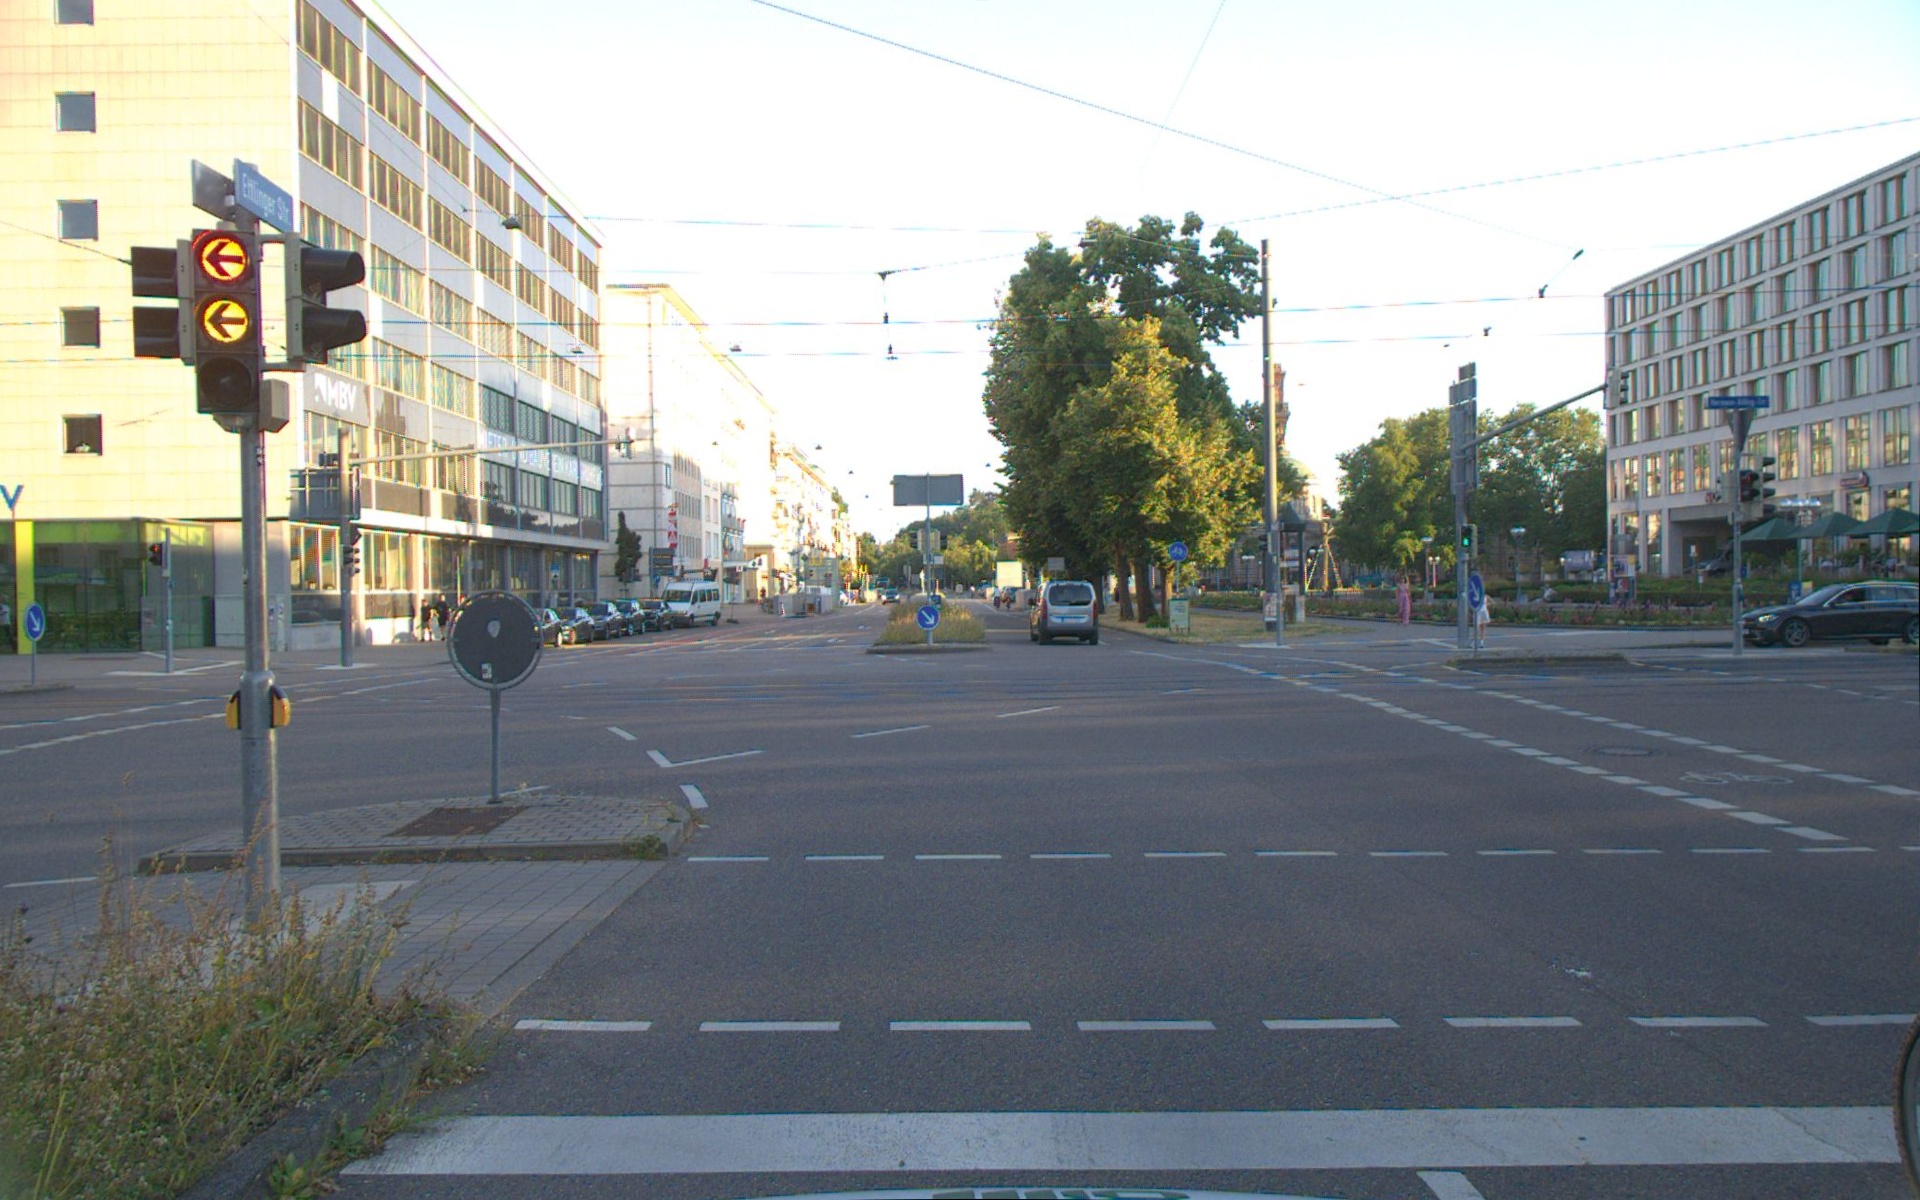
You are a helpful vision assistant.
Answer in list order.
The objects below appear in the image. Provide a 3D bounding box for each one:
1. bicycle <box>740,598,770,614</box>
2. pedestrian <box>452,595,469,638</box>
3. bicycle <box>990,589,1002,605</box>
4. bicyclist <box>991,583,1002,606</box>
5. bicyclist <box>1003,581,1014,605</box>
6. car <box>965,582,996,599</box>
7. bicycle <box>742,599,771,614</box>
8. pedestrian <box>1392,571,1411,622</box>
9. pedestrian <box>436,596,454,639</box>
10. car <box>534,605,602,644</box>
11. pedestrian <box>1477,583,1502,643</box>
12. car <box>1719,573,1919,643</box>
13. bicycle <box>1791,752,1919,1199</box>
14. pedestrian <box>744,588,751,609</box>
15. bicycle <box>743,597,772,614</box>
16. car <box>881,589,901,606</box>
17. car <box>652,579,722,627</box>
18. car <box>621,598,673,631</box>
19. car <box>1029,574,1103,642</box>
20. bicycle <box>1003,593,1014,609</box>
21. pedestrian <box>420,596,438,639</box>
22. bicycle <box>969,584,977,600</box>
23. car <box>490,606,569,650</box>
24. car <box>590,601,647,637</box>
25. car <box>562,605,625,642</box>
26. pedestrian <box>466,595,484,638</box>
[{"bbox_3d":[-15.492,0.461,125.100,2.161,1.131,0.618,-1,0,-3],"label":"bicycle"},{"bbox_3d":[-19.985,0.646,66.201,0.490,1.708,0.500,-1,0,-1],"label":"pedestrian"},{"bbox_3d":[2.676,-0.199,122.791,0.731,1.164,2.505,-1,0,-1],"label":"bicycle"},{"bbox_3d":[2.675,-0.390,122.301,0.731,1.692,0.873,-1,0,-1],"label":"bicyclist"},{"bbox_3d":[3.587,-0.501,122.660,0.731,1.720,0.799,-1,0,-1],"label":"bicyclist"},{"bbox_3d":[2.642,-1.246,214.312,3.909,2.049,1.998,-1,0,-5],"label":"car"},{"bbox_3d":[-15.570,0.487,126.583,2.161,1.131,0.689,-1,0,-2],"label":"bicycle"},{"bbox_3d":[14.585,-0.112,54.655,0.451,1.685,0.566,-1,0,-1],"label":"pedestrian"},{"bbox_3d":[-20.609,0.694,66.237,0.540,1.708,0.500,-1,0,-1],"label":"pedestrian"},{"bbox_3d":[-16.116,0.986,68.171,1.882,1.489,3.999,-1,0,-1],"label":"car"},{"bbox_3d":[13.926,0.343,43.483,0.480,1.566,0.408,-1,0,-1],"label":"pedestrian"},{"bbox_3d":[21.153,0.172,39.928,4.724,1.542,2.000,-1,0,1],"label":"car"},{"bbox_3d":[2.201,0.928,2.757,0.599,1.152,2.004,1,0,-1],"label":"bicycle"},{"bbox_3d":[-21.125,-0.149,164.458,0.666,2.049,0.545,-1,0,-1],"label":"pedestrian"},{"bbox_3d":[-15.734,0.431,128.631,2.161,1.258,0.839,-1,0,-2],"label":"bicycle"},{"bbox_3d":[-6.642,-0.243,158.871,1.825,1.546,3.998,-1,0,-2],"label":"car"},{"bbox_3d":[-14.940,0.139,90.996,1.958,2.521,5.873,-1,0,9],"label":"car"},{"bbox_3d":[-15.958,0.727,84.521,1.882,1.595,3.999,-1,0,-1],"label":"car"},{"bbox_3d":[3.171,0.227,50.252,1.728,1.921,4.497,-1,0,-3],"label":"car"},{"bbox_3d":[3.603,0.055,122.660,0.731,1.164,2.505,-1,0,-1],"label":"bicycle"},{"bbox_3d":[-21.018,0.684,65.458,0.540,1.708,0.500,-1,0,-1],"label":"pedestrian"},{"bbox_3d":[1.635,-0.984,211.551,0.877,2.049,3.999,-1,0,-1],"label":"bicycle"},{"bbox_3d":[-16.007,1.026,61.642,1.882,1.489,4.102,-1,0,-1],"label":"car"},{"bbox_3d":[-16.132,0.875,78.289,1.882,1.595,3.999,-1,0,-1],"label":"car"},{"bbox_3d":[-16.136,1.006,72.985,1.882,1.489,3.999,-1,0,-1],"label":"car"},{"bbox_3d":[-19.310,0.661,65.813,0.540,1.708,0.500,-1,0,-1],"label":"pedestrian"}]
